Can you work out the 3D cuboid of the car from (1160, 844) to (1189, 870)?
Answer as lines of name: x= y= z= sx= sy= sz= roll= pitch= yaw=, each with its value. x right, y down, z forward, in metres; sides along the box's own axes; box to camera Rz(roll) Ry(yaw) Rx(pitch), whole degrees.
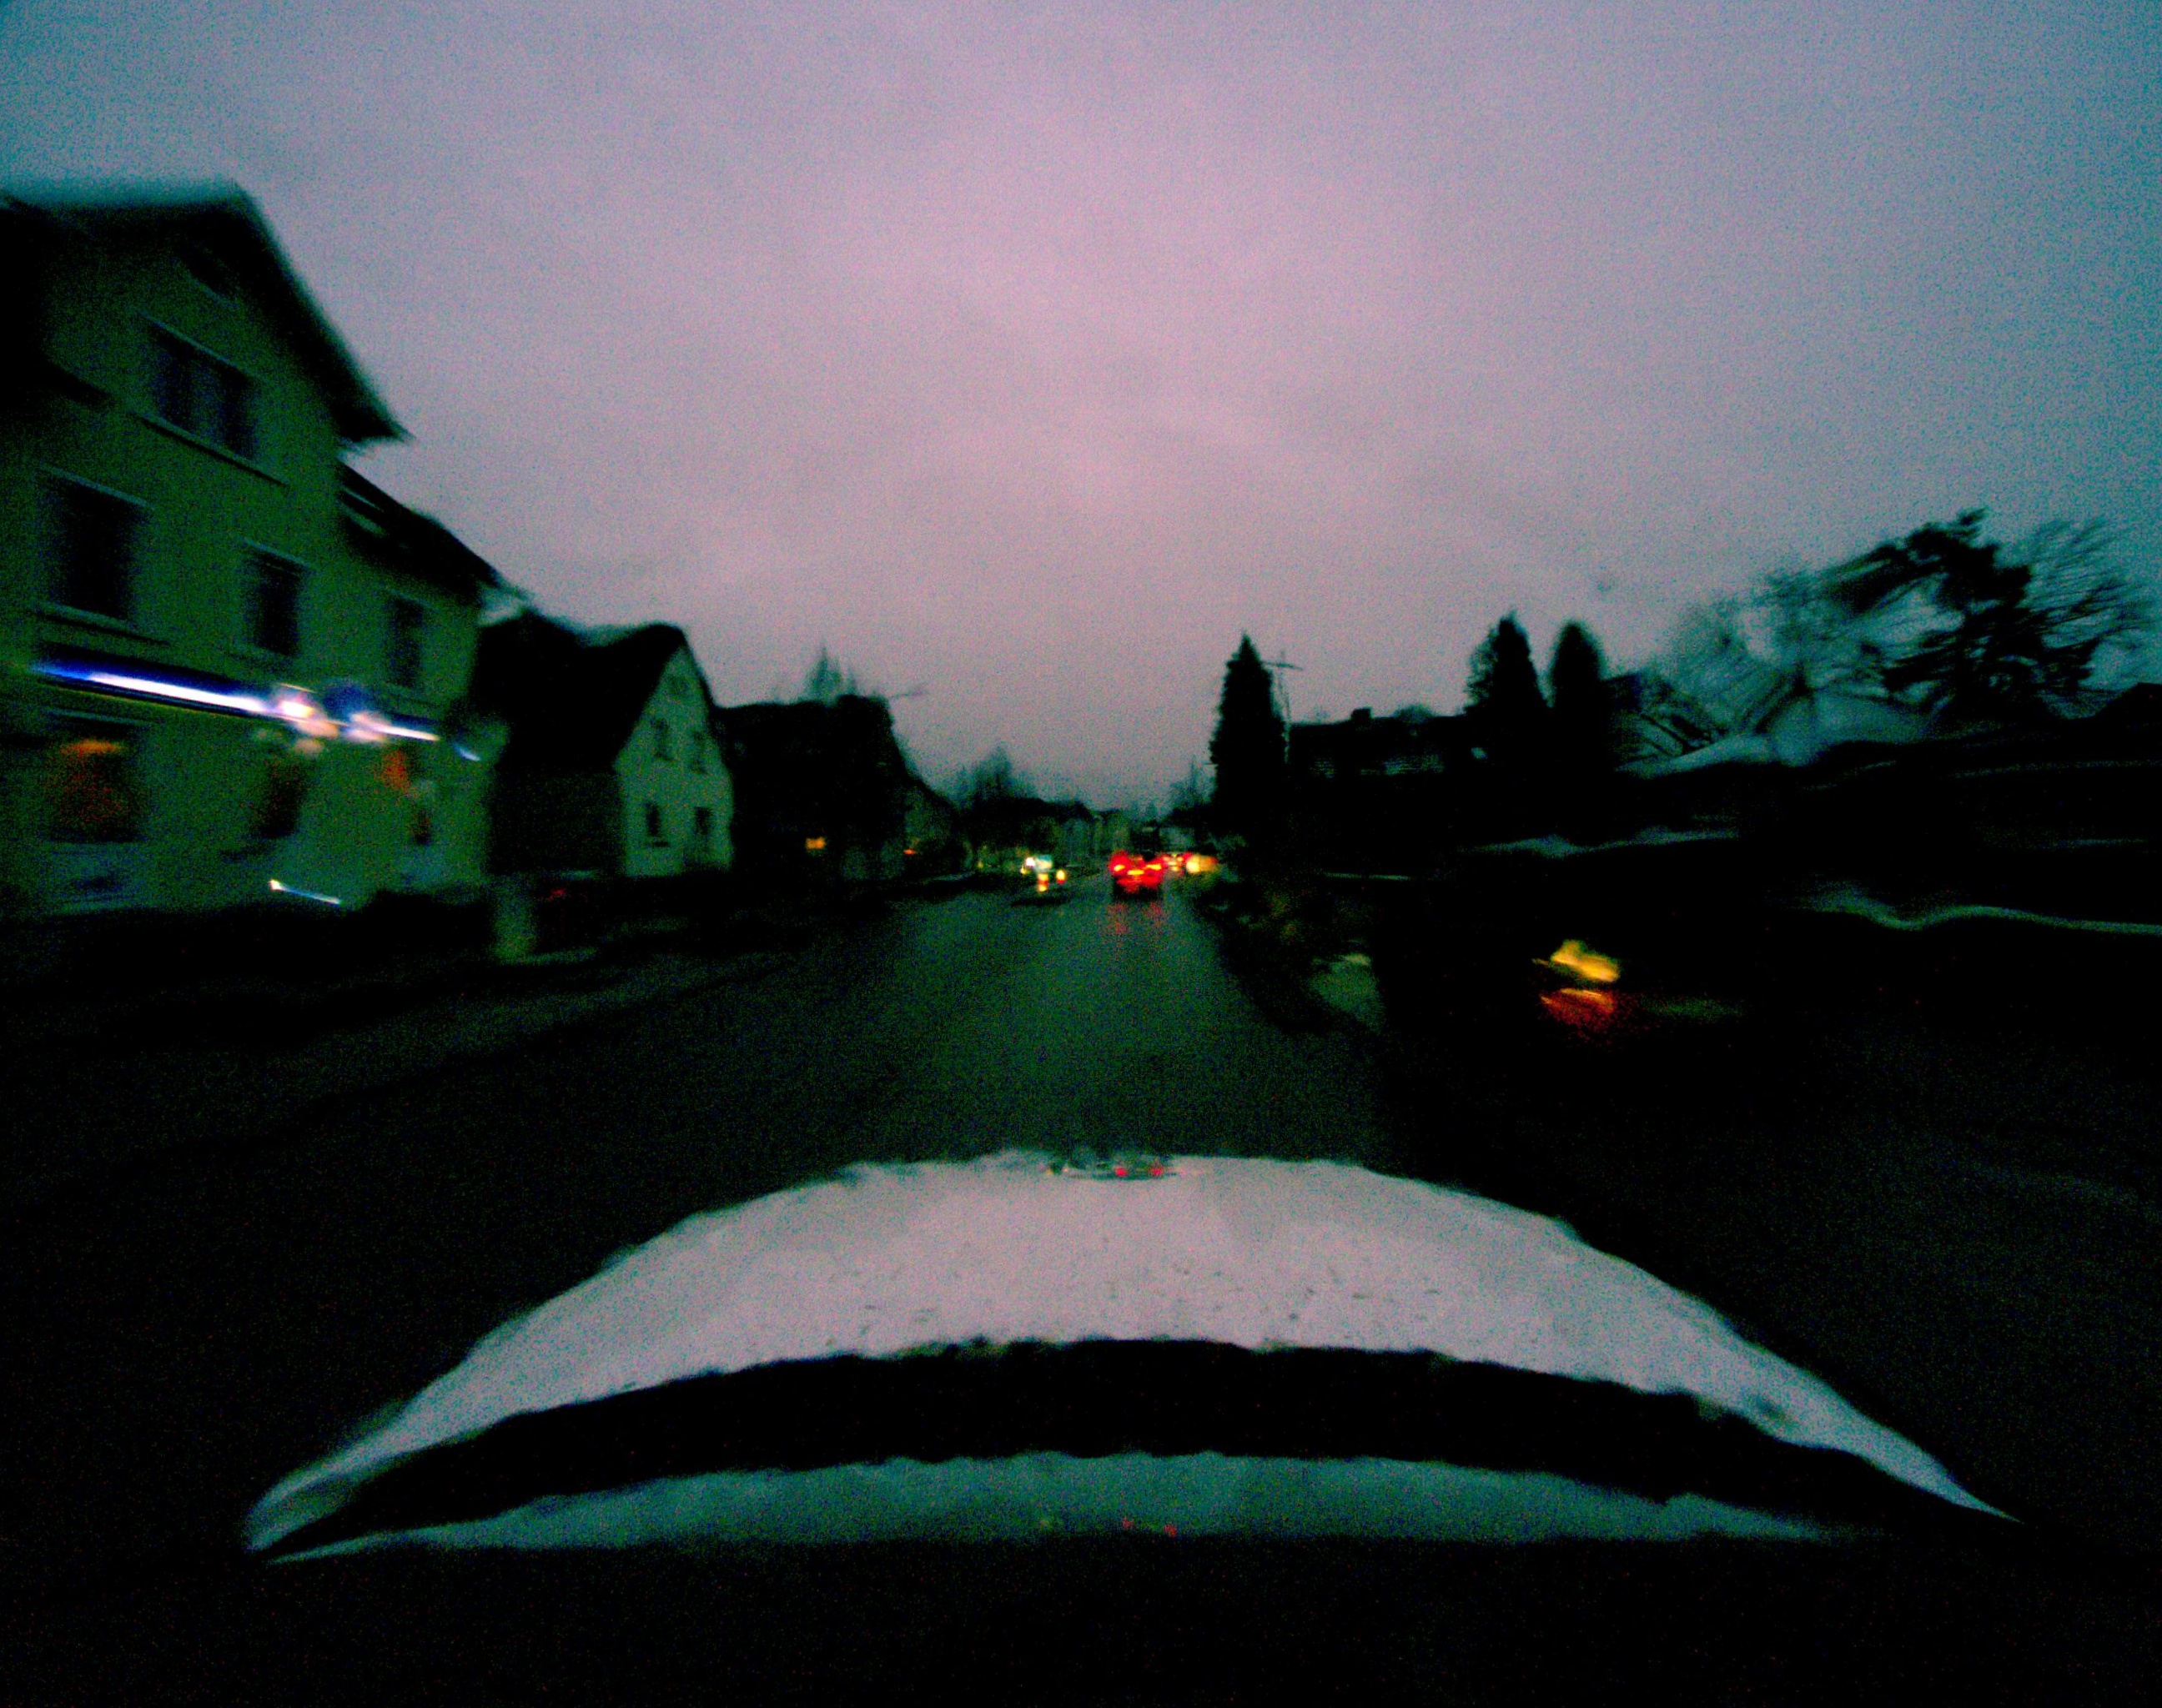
car: x=7.896 y=0.265 z=68.541 sx=1.980 sy=2.014 sz=4.013 roll=-2 pitch=-1 yaw=11

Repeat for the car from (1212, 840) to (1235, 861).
car: x=14.031 y=-0.373 z=80.163 sx=1.732 sy=1.785 sz=4.353 roll=-5 pitch=0 yaw=14

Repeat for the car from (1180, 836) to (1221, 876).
car: x=6.677 y=0.070 z=46.131 sx=1.967 sy=2.013 sz=5.756 roll=-5 pitch=0 yaw=6

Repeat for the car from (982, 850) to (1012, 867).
car: x=-10.113 y=0.546 z=98.000 sx=1.976 sy=2.013 sz=4.021 roll=0 pitch=1 yaw=22

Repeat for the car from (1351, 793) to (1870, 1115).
car: x=3.347 y=0.538 z=6.004 sx=1.642 sy=1.540 sz=3.394 roll=-6 pitch=-1 yaw=4

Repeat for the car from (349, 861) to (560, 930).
car: x=-16.242 y=1.048 z=21.262 sx=3.973 sy=1.600 sz=1.922 roll=-2 pitch=0 yaw=1

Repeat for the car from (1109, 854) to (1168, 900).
car: x=2.091 y=0.800 z=30.091 sx=1.985 sy=1.525 sz=4.003 roll=-2 pitch=0 yaw=3
